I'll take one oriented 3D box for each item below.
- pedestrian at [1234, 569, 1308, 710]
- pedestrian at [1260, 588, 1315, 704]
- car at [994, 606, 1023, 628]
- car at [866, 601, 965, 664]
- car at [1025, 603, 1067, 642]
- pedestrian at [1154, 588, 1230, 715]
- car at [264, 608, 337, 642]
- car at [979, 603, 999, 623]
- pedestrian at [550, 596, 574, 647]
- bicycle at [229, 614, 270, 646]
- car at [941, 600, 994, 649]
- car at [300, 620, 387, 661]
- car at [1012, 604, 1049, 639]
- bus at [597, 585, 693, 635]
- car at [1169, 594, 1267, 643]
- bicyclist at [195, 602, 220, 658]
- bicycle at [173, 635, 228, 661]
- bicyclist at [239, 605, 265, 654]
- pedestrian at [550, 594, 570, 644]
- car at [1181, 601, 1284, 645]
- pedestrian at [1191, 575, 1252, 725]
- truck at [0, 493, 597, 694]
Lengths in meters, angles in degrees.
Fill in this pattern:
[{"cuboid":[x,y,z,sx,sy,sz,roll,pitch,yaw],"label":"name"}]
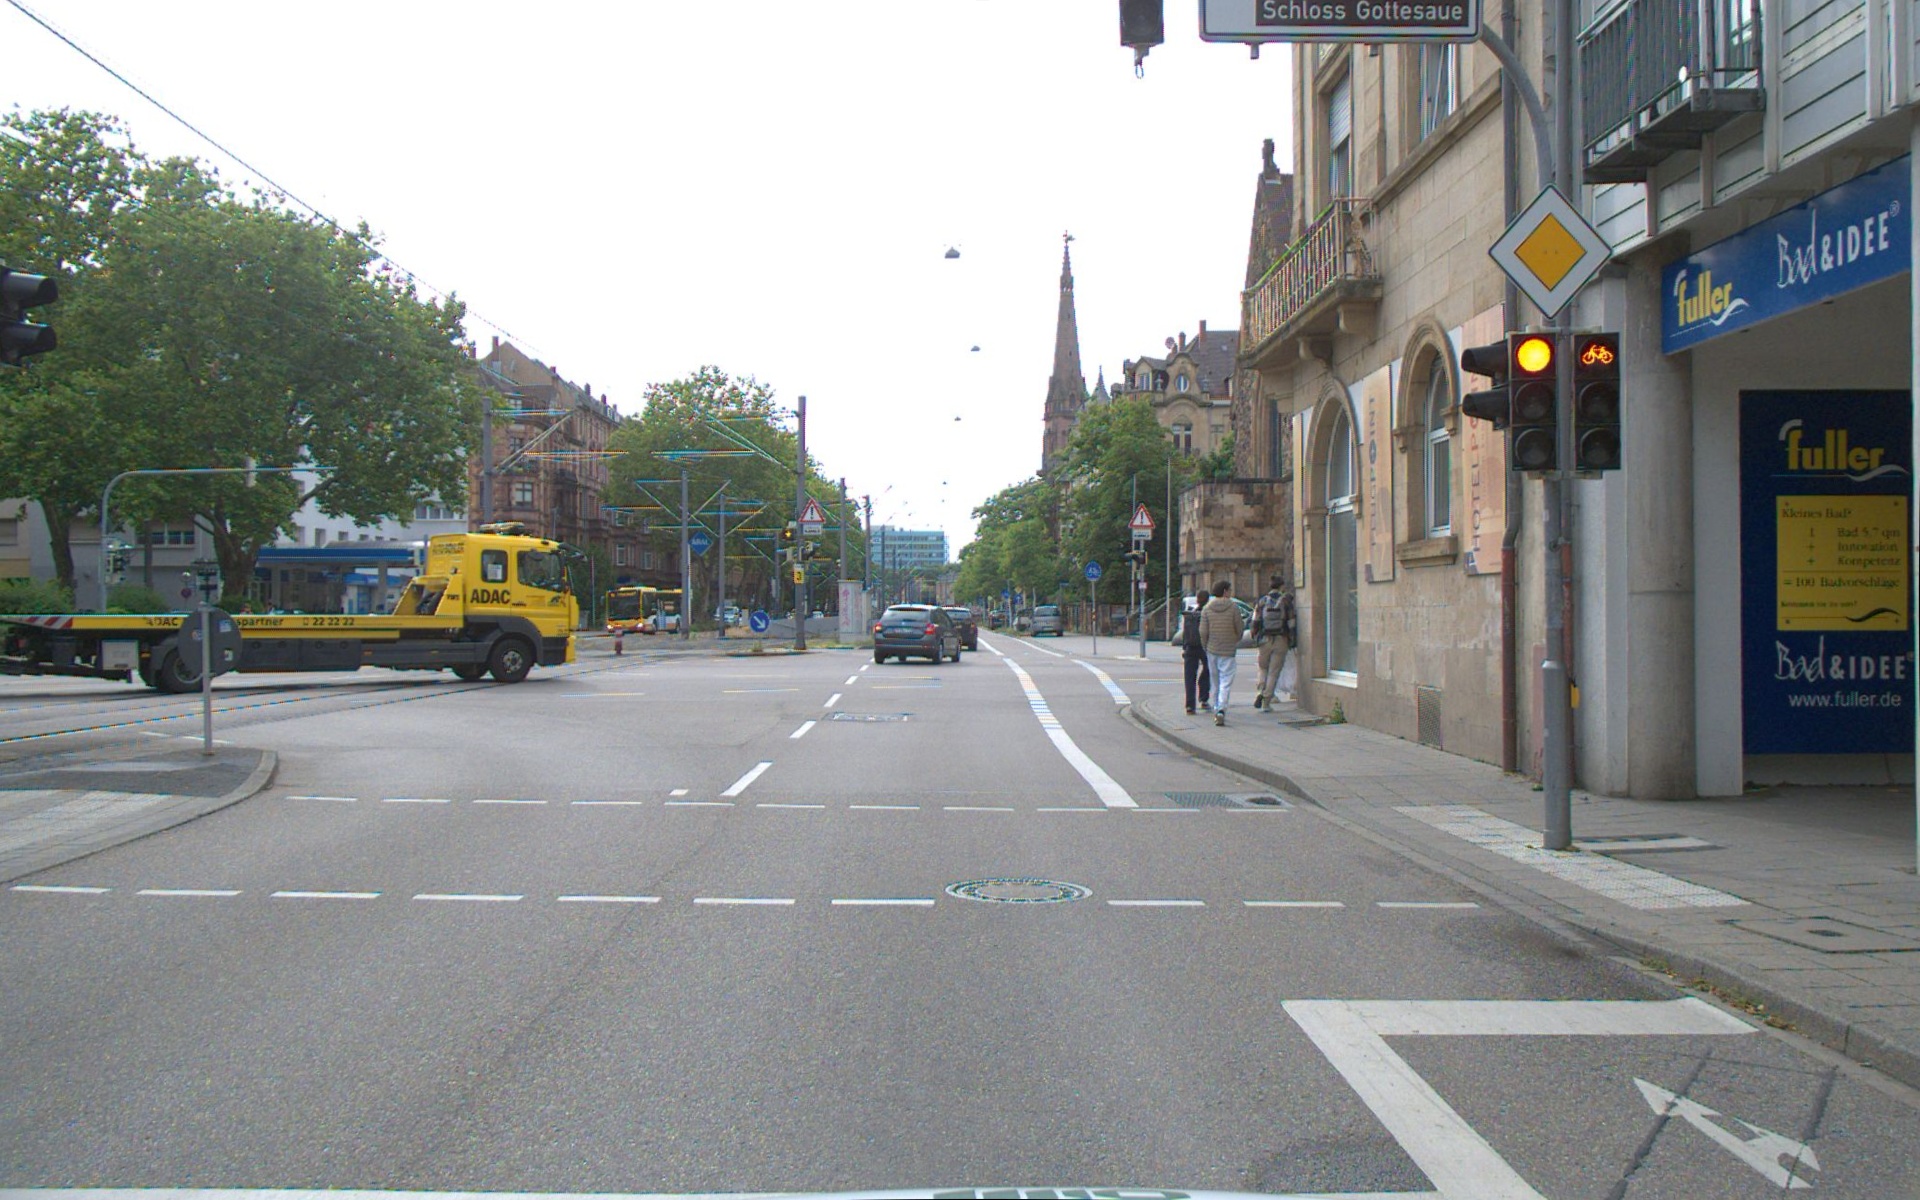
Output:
[{"cuboid":[4.147,0.515,21.999,0.614,1.809,1.133,-3,-1,25],"label":"pedestrian"},{"cuboid":[4.662,0.647,23.589,0.685,1.621,0.831,1,-1,7],"label":"pedestrian"},{"cuboid":[3.753,1.297,128.529,1.953,1.635,4.163,-2,0,-1],"label":"car"},{"cuboid":[-1.075,0.813,42.021,1.796,1.495,3.996,1,-1,9],"label":"car"},{"cuboid":[4.648,1.212,90.030,1.953,2.049,3.999,1,-1,-1],"label":"car"},{"cuboid":[3.174,0.689,22.547,0.616,1.681,0.993,0,-1,36],"label":"pedestrian"},{"cuboid":[-31.853,1.201,79.985,1.953,1.557,3.999,1,-1,-1],"label":"car"},{"cuboid":[3.017,1.323,172.339,1.953,2.049,3.999,1,-1,-1],"label":"car"},{"cuboid":[-12.364,0.680,51.360,0.640,1.564,0.465,1,-1,-5],"label":"pedestrian"},{"cuboid":[-23.514,0.994,54.737,0.511,1.035,1.936,1,-1,-1],"label":"bicycle"},{"cuboid":[0.240,0.852,58.264,1.769,1.614,4.340,1,-1,-1],"label":"car"},{"cuboid":[-21.787,1.399,58.583,1.601,1.349,3.999,1,-1,-1],"label":"car"},{"cuboid":[4.217,1.286,99.723,1.953,2.049,3.999,1,-1,-1],"label":"car"},{"cuboid":[-21.253,0.697,112.642,3.020,3.166,13.100,1,-1,5],"label":"bus"},{"cuboid":[10.639,0.779,68.475,3.721,1.937,2.000,1,-1,-1],"label":"car"},{"cuboid":[-24.646,0.986,54.180,0.522,1.815,0.470,1,-1,19],"label":"bicyclist"},{"cuboid":[-24.871,1.567,54.148,1.645,0.786,0.656,1,-1,20],"label":"bicycle"},{"cuboid":[-23.517,0.983,54.958,0.576,1.595,0.618,1,-1,-1],"label":"bicyclist"},{"cuboid":[-12.558,0.603,51.931,0.535,1.564,0.465,1,-1,-5],"label":"pedestrian"},{"cuboid":[10.686,0.905,65.064,3.721,1.629,2.000,1,-1,-1],"label":"car"},{"cuboid":[3.319,0.624,20.961,0.571,1.845,1.015,1,-1,19],"label":"pedestrian"},{"cuboid":[-11.461,-0.055,28.386,10.069,2.992,2.603,1,0,-37],"label":"truck"}]
